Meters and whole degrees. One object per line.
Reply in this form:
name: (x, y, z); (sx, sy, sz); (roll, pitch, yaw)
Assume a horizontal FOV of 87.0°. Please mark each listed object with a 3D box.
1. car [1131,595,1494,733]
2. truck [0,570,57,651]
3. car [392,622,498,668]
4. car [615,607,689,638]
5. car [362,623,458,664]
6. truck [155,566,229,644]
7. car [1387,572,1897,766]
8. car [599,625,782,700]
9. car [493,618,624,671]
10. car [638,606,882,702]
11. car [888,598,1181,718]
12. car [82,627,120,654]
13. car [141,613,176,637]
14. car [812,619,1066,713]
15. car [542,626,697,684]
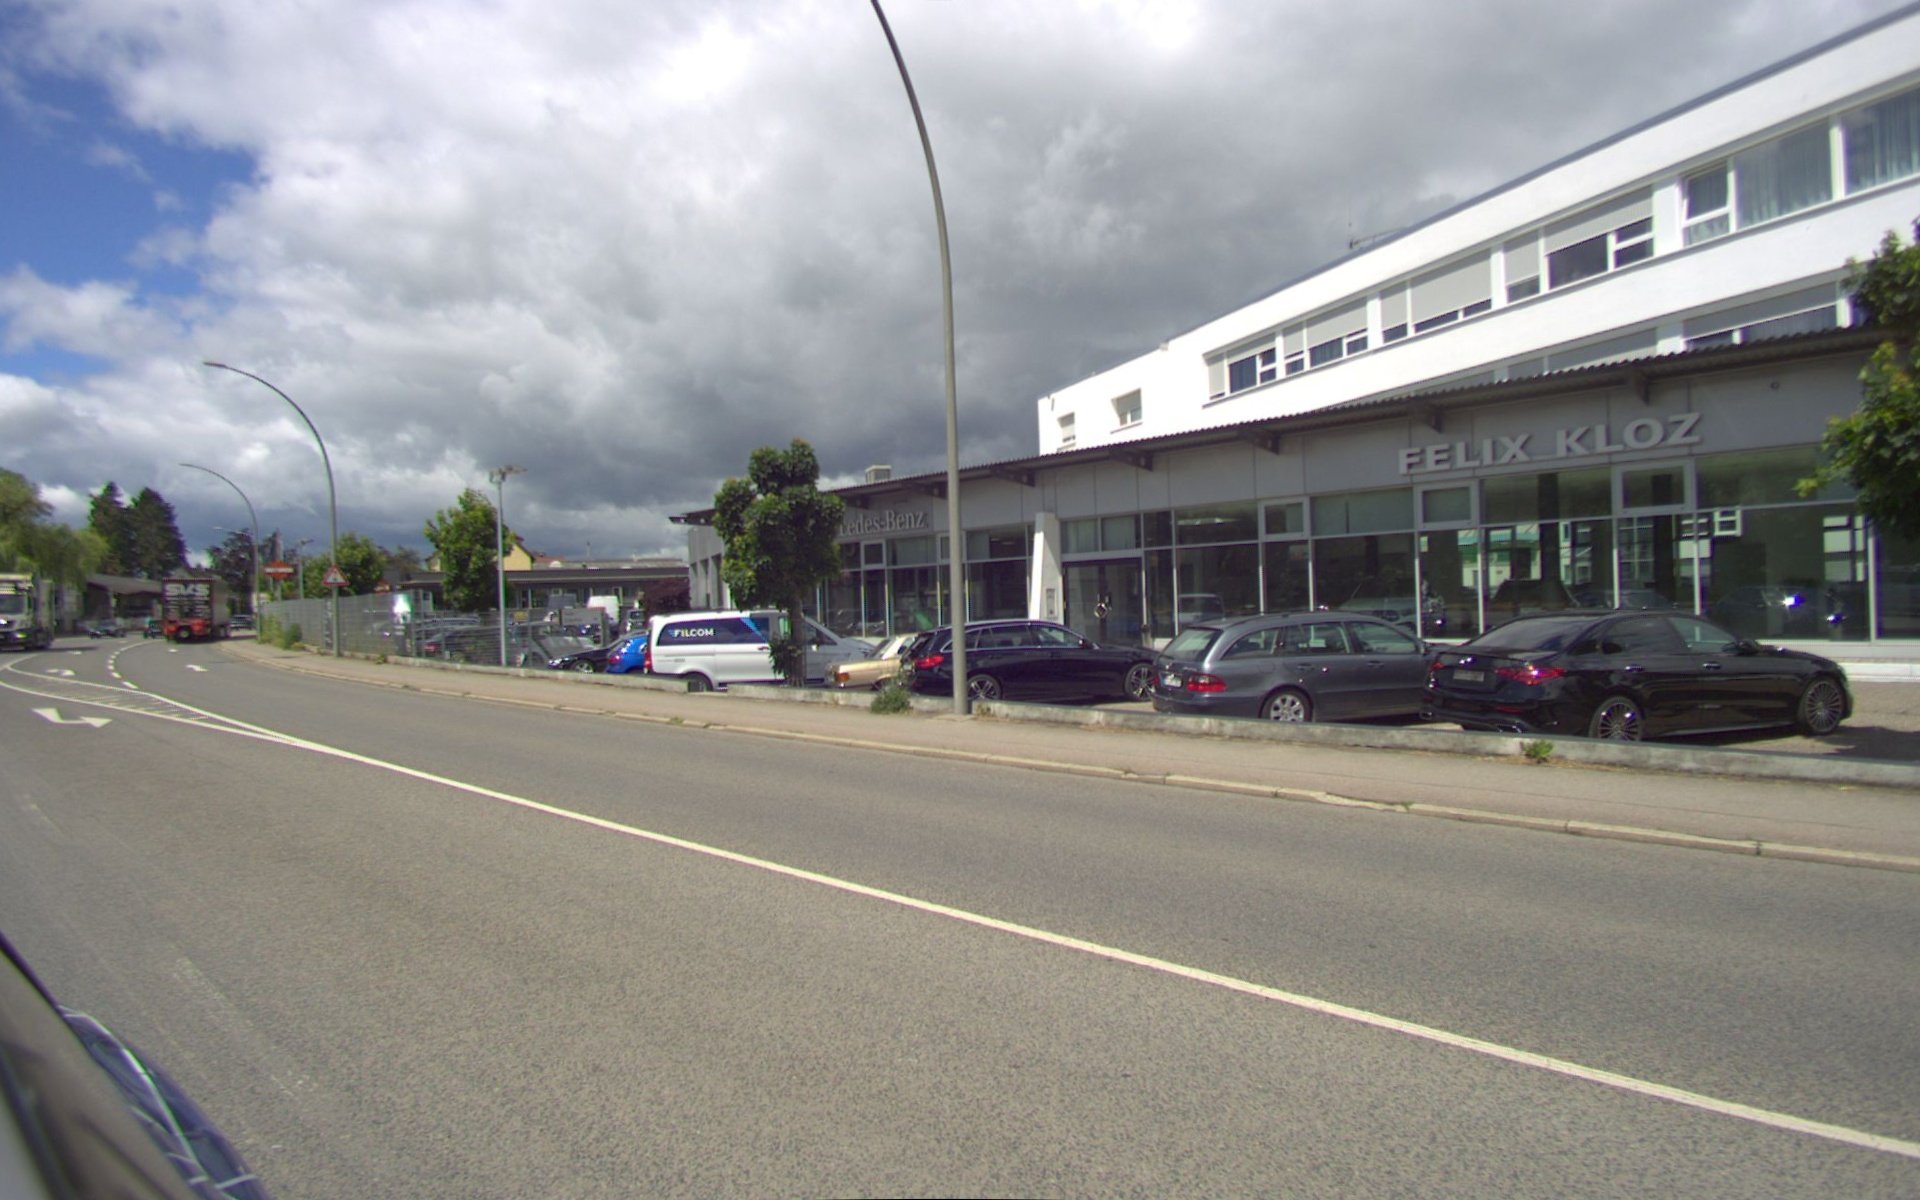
car: (4.352, 0.737, 12.763); (3.890, 1.505, 1.808); (-1, -1, -11)
truck: (-48.173, 0.538, 51.126); (2.859, 3.796, 9.657); (-1, 0, -36)
car: (-18.992, 1.628, 37.348); (3.216, 1.586, 1.584); (0, -1, -41)
car: (-15.284, 1.120, 50.262); (3.213, 1.462, 1.436); (0, -1, -36)
car: (-22.803, 1.778, 41.988); (3.216, 1.586, 1.584); (0, -1, -41)
truck: (-49.154, 0.331, 64.963); (2.932, 4.696, 8.202); (-1, 0, -32)
car: (7.294, 0.640, 10.963); (4.558, 1.637, 2.068); (-2, 0, -16)
car: (-6.209, 1.400, 23.410); (3.888, 1.437, 1.809); (-2, 0, -16)
car: (-13.136, 1.429, 33.241); (3.611, 1.474, 1.659); (-2, 0, -45)
car: (-4.243, 1.088, 21.541); (4.876, 1.852, 1.898); (-1, -1, -14)
car: (1.204, 0.897, 16.809); (4.432, 1.637, 1.809); (-2, -1, -17)
car: (-67.700, 3.148, 79.789); (1.923, 2.029, 4.010); (-1, 0, -35)
car: (-60.745, 1.876, 76.749); (1.772, 1.746, 4.010); (2, -2, -35)
car: (-0.431, 1.175, 19.172); (4.389, 1.339, 1.898); (-4, 0, -18)
car: (-9.334, 1.457, 27.777); (3.887, 1.303, 1.810); (-2, 0, -21)
